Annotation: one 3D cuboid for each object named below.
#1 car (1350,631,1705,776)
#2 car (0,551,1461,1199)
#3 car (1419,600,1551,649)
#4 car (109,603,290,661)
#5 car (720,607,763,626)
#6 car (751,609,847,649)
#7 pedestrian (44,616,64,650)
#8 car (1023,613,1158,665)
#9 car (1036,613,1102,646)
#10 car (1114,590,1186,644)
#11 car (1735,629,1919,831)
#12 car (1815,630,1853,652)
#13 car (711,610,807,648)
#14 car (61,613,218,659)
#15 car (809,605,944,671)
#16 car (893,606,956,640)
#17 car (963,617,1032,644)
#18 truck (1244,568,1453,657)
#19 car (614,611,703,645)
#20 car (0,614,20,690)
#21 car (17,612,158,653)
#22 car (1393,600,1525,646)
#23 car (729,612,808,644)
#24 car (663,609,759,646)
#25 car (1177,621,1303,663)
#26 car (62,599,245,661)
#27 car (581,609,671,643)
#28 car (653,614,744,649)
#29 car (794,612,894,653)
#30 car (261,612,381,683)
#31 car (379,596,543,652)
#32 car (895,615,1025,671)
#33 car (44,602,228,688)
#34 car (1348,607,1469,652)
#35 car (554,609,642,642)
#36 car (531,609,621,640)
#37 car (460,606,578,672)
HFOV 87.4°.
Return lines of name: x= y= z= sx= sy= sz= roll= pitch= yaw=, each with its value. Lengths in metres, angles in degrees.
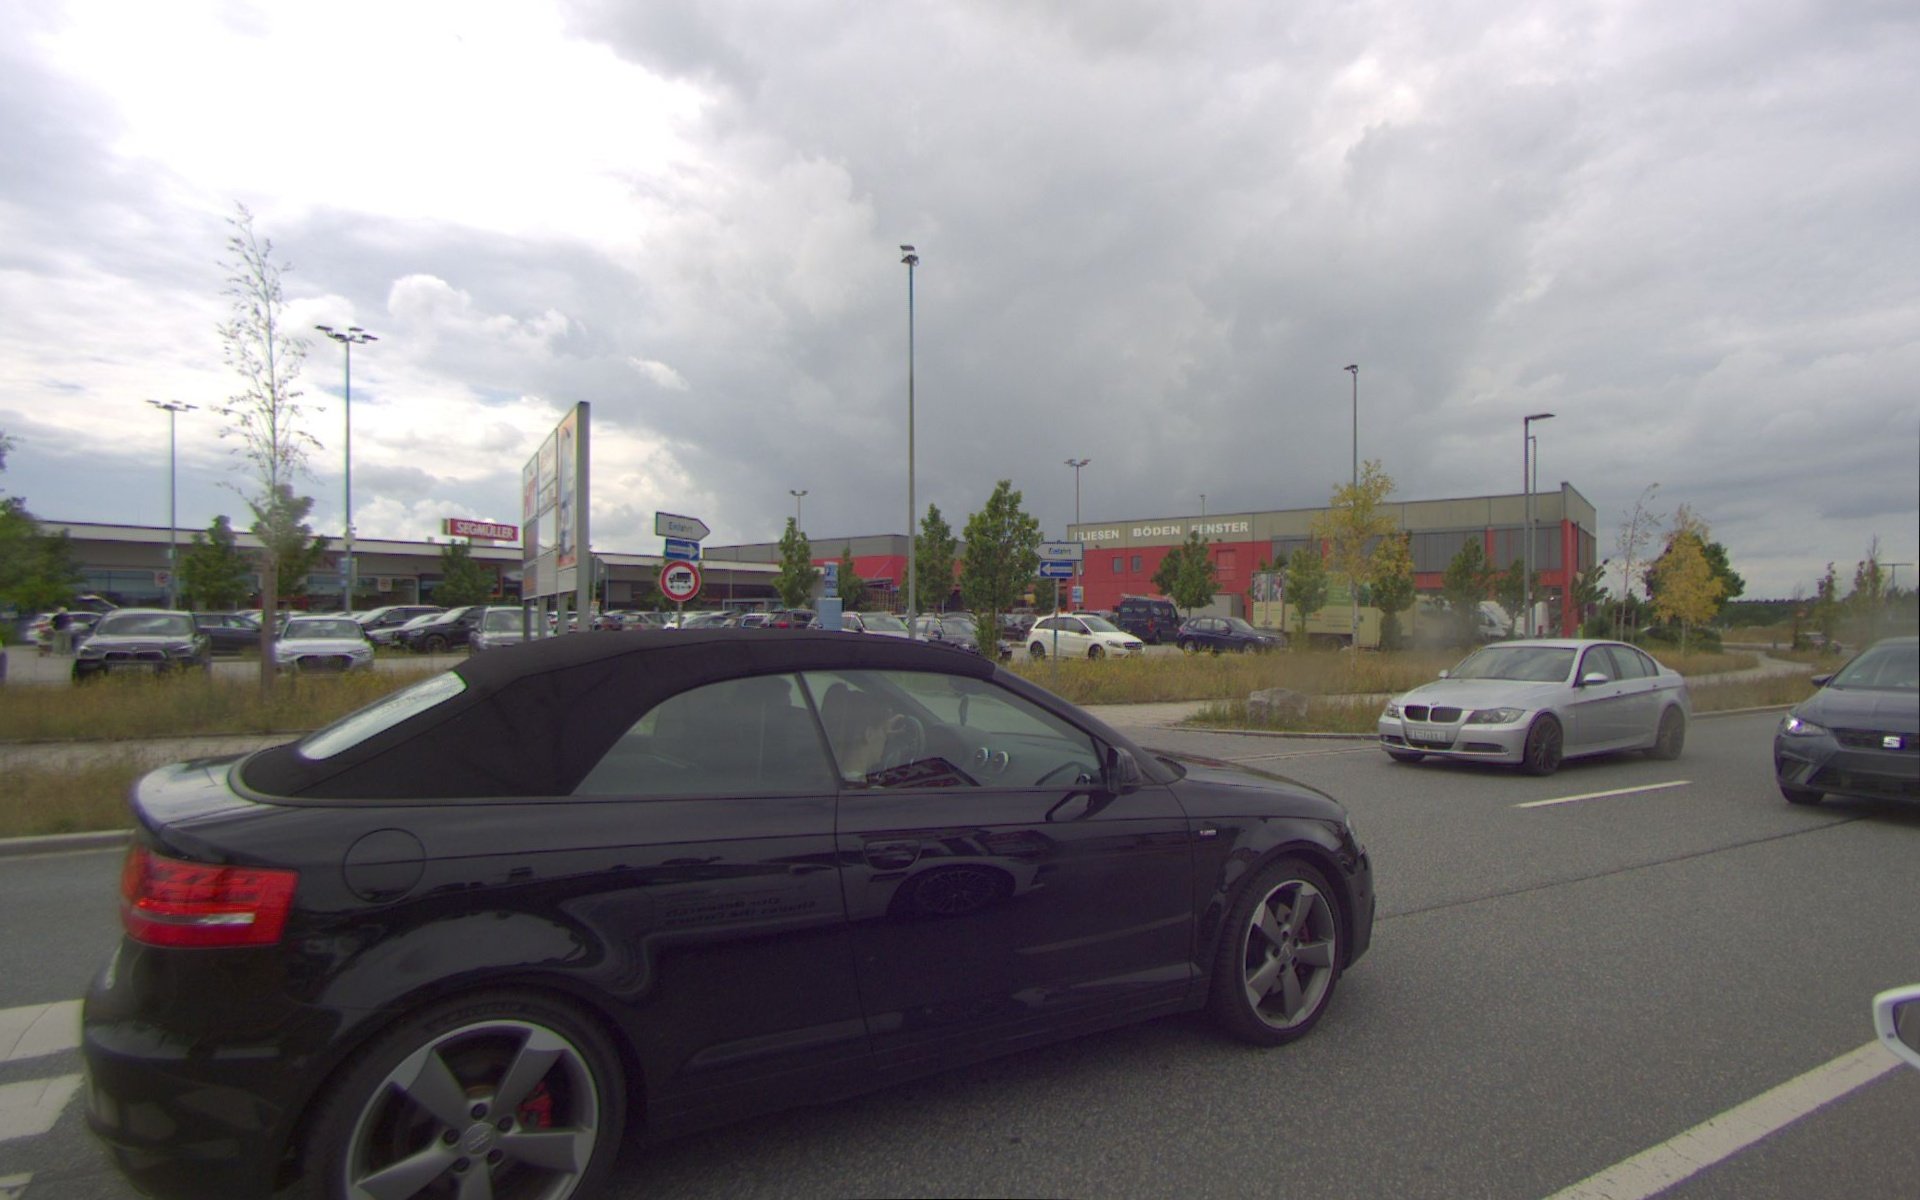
car: x=6.829 y=1.102 z=11.952 sx=4.451 sy=1.436 sz=1.826 roll=1 pitch=-3 yaw=-33
car: x=-0.290 y=0.726 z=3.531 sx=4.184 sy=1.456 sz=1.760 roll=2 pitch=-2 yaw=-32
car: x=29.775 y=1.370 z=57.138 sx=6.332 sy=2.633 sz=2.233 roll=0 pitch=-1 yaw=40
car: x=-22.904 y=0.942 z=30.362 sx=1.969 sy=1.628 sz=3.984 roll=-1 pitch=-1 yaw=38
car: x=-19.908 y=1.485 z=91.428 sx=3.946 sy=1.628 sz=1.988 roll=-1 pitch=-2 yaw=45
car: x=-6.878 y=1.219 z=43.150 sx=1.824 sy=1.628 sz=3.986 roll=-1 pitch=-1 yaw=36
pedestrian: x=-28.805 y=1.047 z=31.934 sx=0.264 sy=1.063 sz=0.391 roll=1 pitch=-1 yaw=-10
car: x=4.222 y=1.249 z=33.041 sx=1.973 sy=1.580 sz=4.211 roll=1 pitch=-2 yaw=-40
car: x=6.154 y=1.631 z=56.452 sx=1.968 sy=1.752 sz=3.986 roll=-1 pitch=-1 yaw=36
car: x=10.116 y=0.918 z=53.238 sx=2.029 sy=2.726 sz=5.133 roll=-1 pitch=-1 yaw=32
car: x=8.559 y=0.990 z=8.594 sx=4.201 sy=1.439 sz=1.819 roll=1 pitch=-1 yaw=-34
car: x=72.434 y=3.412 z=83.280 sx=1.775 sy=1.691 sz=4.314 roll=-3 pitch=-4 yaw=34
car: x=-8.954 y=1.273 z=44.959 sx=1.968 sy=1.628 sz=3.986 roll=-1 pitch=-1 yaw=36
car: x=-28.904 y=1.230 z=35.489 sx=1.809 sy=1.528 sz=3.986 roll=0 pitch=-1 yaw=36
car: x=-2.466 y=1.049 z=28.901 sx=2.009 sy=1.746 sz=4.214 roll=2 pitch=-1 yaw=-35
car: x=-2.186 y=1.444 z=62.700 sx=1.967 sy=2.040 sz=3.987 roll=0 pitch=-1 yaw=35
car: x=2.246 y=1.768 z=59.239 sx=1.970 sy=1.539 sz=4.210 roll=-1 pitch=-2 yaw=40
truck: x=16.745 y=0.587 z=43.376 sx=8.286 sy=3.588 sz=2.851 roll=1 pitch=-1 yaw=-14
car: x=-15.057 y=1.393 z=50.294 sx=1.883 sy=1.628 sz=3.986 roll=-1 pitch=-1 yaw=36
car: x=-19.035 y=0.979 z=18.285 sx=1.989 sy=1.476 sz=4.295 roll=1 pitch=-1 yaw=-32
car: x=-35.174 y=1.275 z=40.570 sx=1.968 sy=1.566 sz=3.985 roll=-1 pitch=-1 yaw=37
car: x=26.463 y=1.196 z=53.395 sx=5.995 sy=2.337 sz=2.201 roll=0 pitch=-1 yaw=39
car: x=-10.354 y=1.498 z=54.442 sx=1.968 sy=1.628 sz=3.986 roll=-1 pitch=-1 yaw=36
car: x=-11.391 y=1.259 z=46.108 sx=1.967 sy=1.628 sz=3.987 roll=0 pitch=-2 yaw=35
car: x=10.361 y=1.506 z=37.372 sx=1.979 sy=1.454 sz=4.201 roll=1 pitch=-1 yaw=-37
car: x=-26.935 y=0.987 z=33.696 sx=1.806 sy=1.947 sz=4.439 roll=0 pitch=-1 yaw=31
car: x=-17.023 y=1.325 z=51.355 sx=1.968 sy=1.628 sz=3.986 roll=-1 pitch=-1 yaw=36
car: x=-12.711 y=1.531 z=49.093 sx=1.968 sy=1.628 sz=3.986 roll=-1 pitch=-1 yaw=36
car: x=-4.779 y=1.319 z=41.779 sx=1.968 sy=1.628 sz=3.986 roll=-1 pitch=-1 yaw=36
car: x=-13.805 y=0.961 z=21.640 sx=2.006 sy=1.357 sz=4.286 roll=1 pitch=-1 yaw=-34
car: x=-16.794 y=0.825 z=34.011 sx=1.968 sy=1.769 sz=4.566 roll=0 pitch=-2 yaw=37
car: x=-0.087 y=1.231 z=30.085 sx=2.023 sy=1.533 sz=4.221 roll=1 pitch=-1 yaw=-31
car: x=-16.336 y=0.844 z=20.192 sx=2.214 sy=1.525 sz=4.343 roll=1 pitch=-1 yaw=-31
car: x=21.279 y=1.384 z=47.823 sx=2.163 sy=2.016 sz=4.856 roll=2 pitch=-2 yaw=-43
car: x=-19.064 y=1.337 z=52.996 sx=1.968 sy=1.628 sz=3.986 roll=-1 pitch=-1 yaw=36
car: x=-21.141 y=1.339 z=55.395 sx=1.968 sy=1.628 sz=4.279 roll=-1 pitch=-1 yaw=36
car: x=-10.602 y=0.889 z=23.971 sx=2.139 sy=1.409 sz=4.338 roll=1 pitch=-1 yaw=-30
